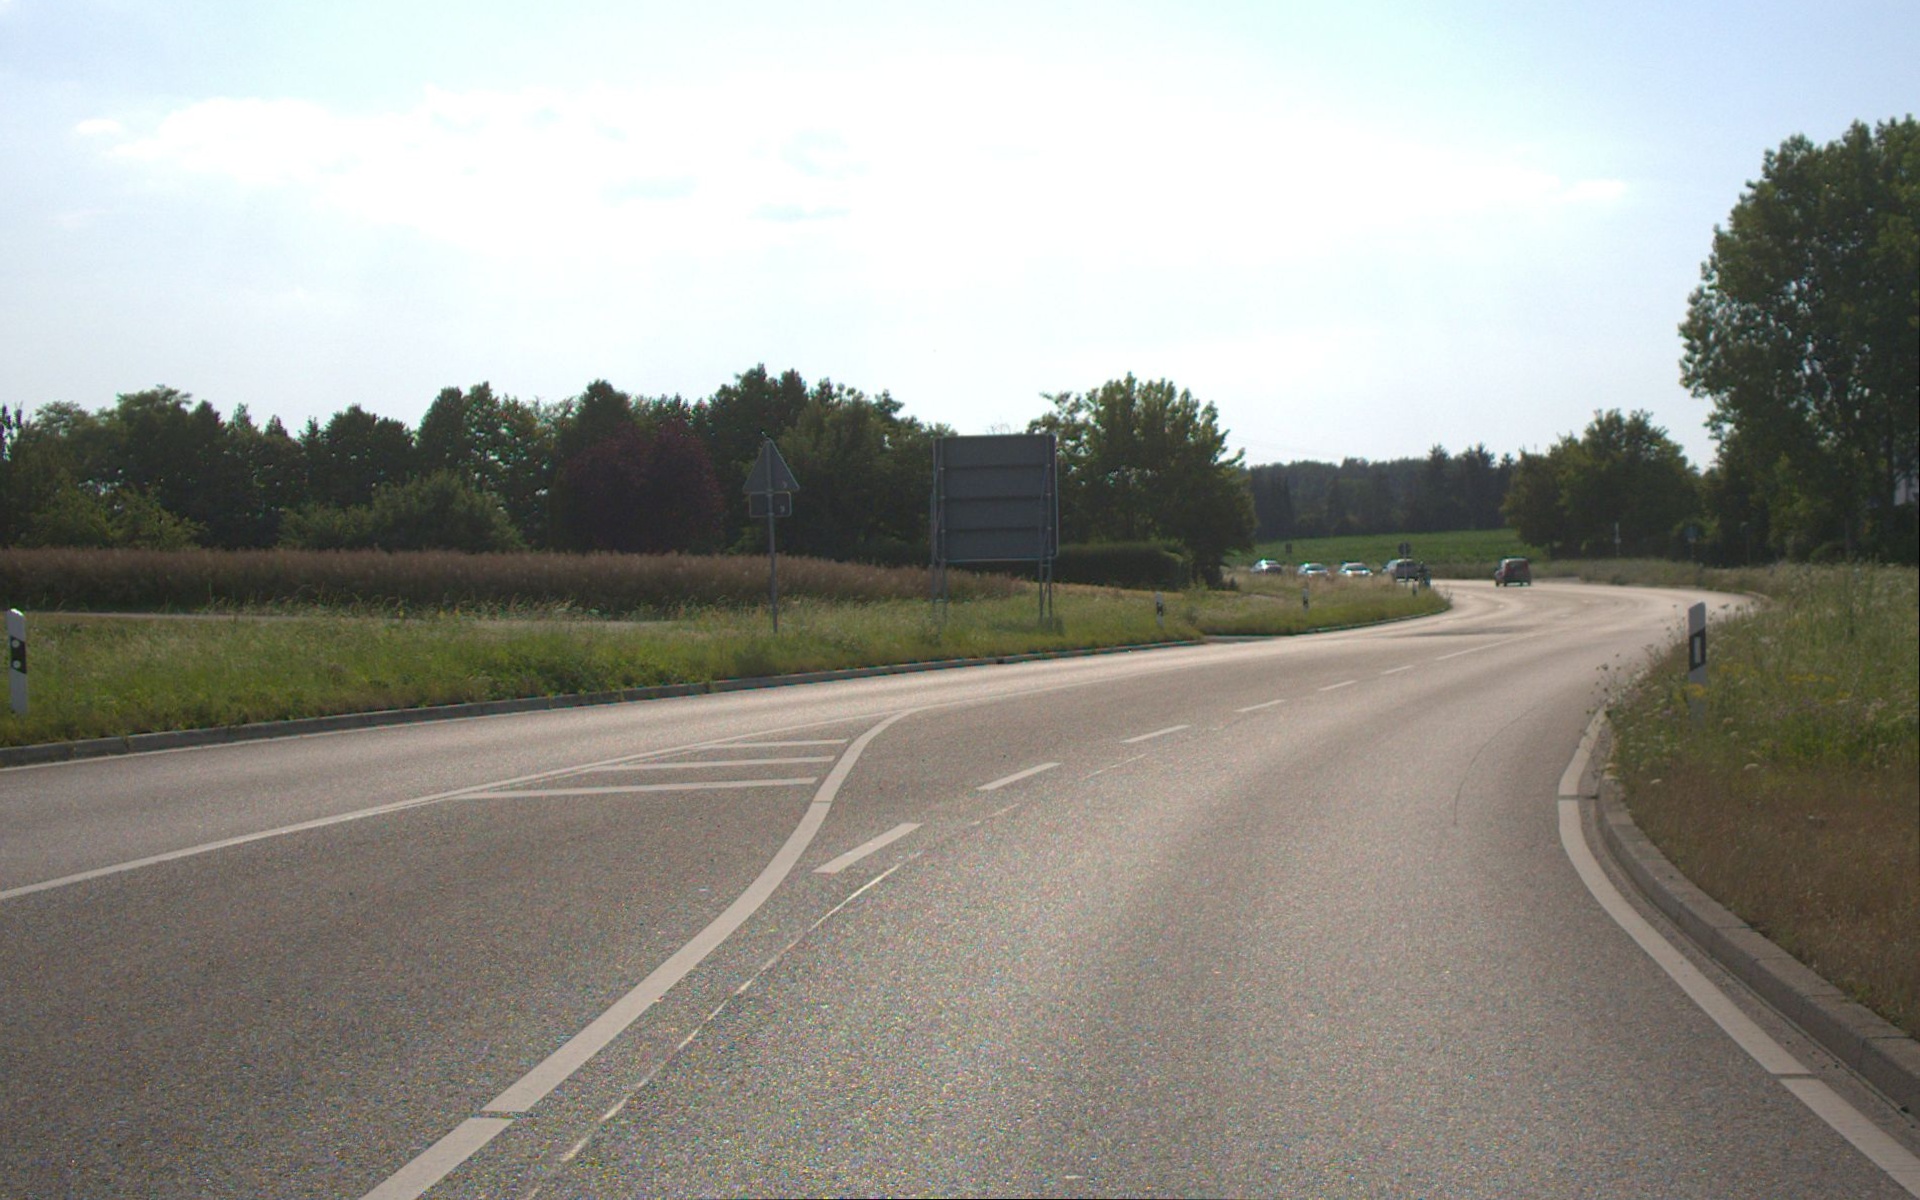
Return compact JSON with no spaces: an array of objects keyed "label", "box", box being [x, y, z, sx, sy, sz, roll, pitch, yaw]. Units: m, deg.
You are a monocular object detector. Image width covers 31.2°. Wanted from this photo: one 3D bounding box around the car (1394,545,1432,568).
[{"label":"car","box":[30.282,-2.901,229.993,1.850,1.403,3.645,1,0,-3]}]
